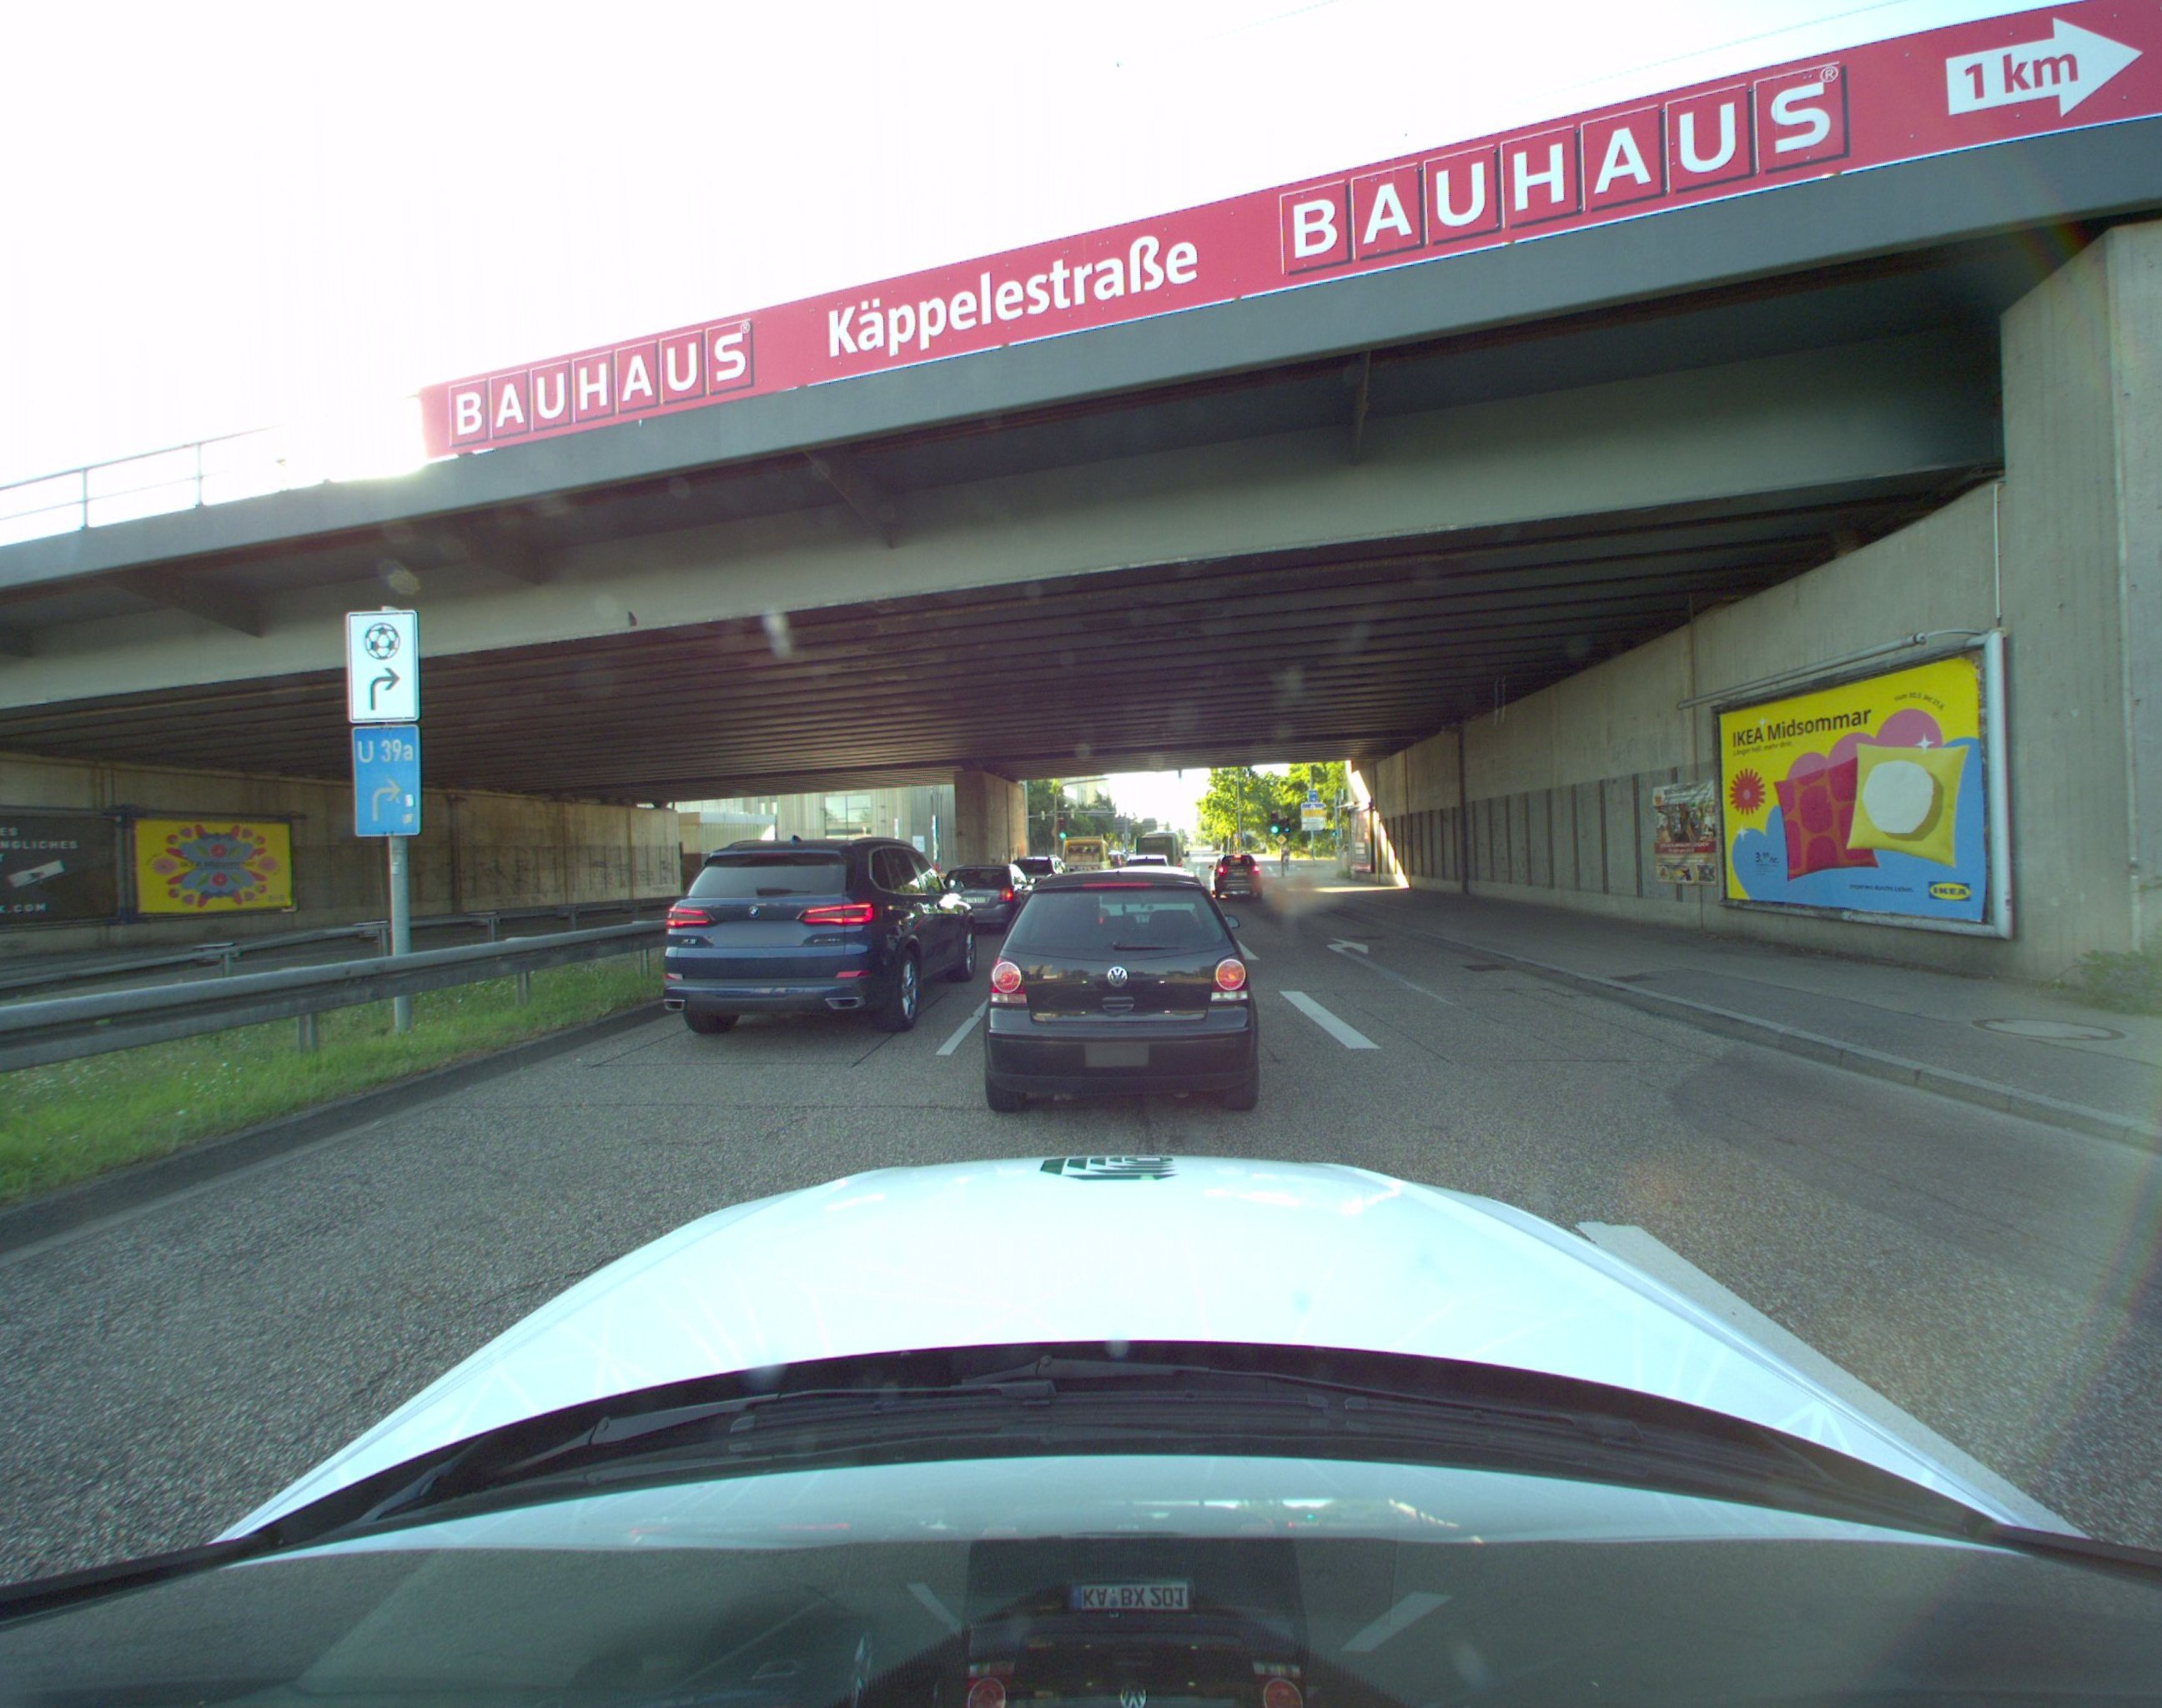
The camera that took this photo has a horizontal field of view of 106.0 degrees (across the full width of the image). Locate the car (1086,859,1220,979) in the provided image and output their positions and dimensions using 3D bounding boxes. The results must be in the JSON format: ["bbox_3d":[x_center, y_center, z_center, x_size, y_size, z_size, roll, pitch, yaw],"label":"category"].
[{"bbox_3d":[0.968,0.788,11.716,1.572,1.413,4.065,0,-1,3],"label":"car"}]

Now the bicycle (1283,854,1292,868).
[{"bbox_3d":[14.042,0.499,55.359,0.435,0.914,1.029,-3,-1,9],"label":"bicycle"}]

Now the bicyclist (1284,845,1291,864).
[{"bbox_3d":[14.037,0.035,55.354,0.425,1.233,0.461,-2,-1,8],"label":"bicyclist"}]

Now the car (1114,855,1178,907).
[{"bbox_3d":[2.195,0.822,26.611,1.786,1.559,4.009,-1,-1,8],"label":"car"}]

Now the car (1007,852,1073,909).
[{"bbox_3d":[-1.223,0.810,25.893,1.609,1.679,3.688,0,-1,5],"label":"car"}]

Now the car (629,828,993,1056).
[{"bbox_3d":[-2.341,0.696,8.545,1.984,1.734,4.538,0,-1,5],"label":"car"}]

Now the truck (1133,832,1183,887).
[{"bbox_3d":[3.492,0.258,36.412,1.984,2.315,4.009,-1,-1,8],"label":"truck"}]

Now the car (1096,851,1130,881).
[{"bbox_3d":[1.853,0.683,46.742,1.608,1.679,3.691,0,-1,7],"label":"car"}]

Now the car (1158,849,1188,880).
[{"bbox_3d":[5.170,0.589,45.478,1.608,1.679,3.691,0,-1,7],"label":"car"}]

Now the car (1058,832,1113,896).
[{"bbox_3d":[0.280,0.429,35.977,2.127,2.576,5.092,0,-1,4],"label":"car"}]

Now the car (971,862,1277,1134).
[{"bbox_3d":[0.369,0.780,6.161,1.609,1.410,3.687,0,-1,5],"label":"car"}]

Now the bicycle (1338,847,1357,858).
[{"bbox_3d":[25.123,-0.130,76.743,1.647,0.991,0.581,-3,2,25],"label":"bicycle"}]

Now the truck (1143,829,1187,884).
[{"bbox_3d":[4.278,0.137,41.034,1.984,2.668,4.009,-1,-1,8],"label":"truck"}]

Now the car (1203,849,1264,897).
[{"bbox_3d":[5.583,0.671,30.195,1.729,1.630,4.065,0,-1,3],"label":"car"}]

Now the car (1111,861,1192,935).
[{"bbox_3d":[1.489,0.878,17.916,1.572,1.413,4.065,0,-1,3],"label":"car"}]

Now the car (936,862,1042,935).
[{"bbox_3d":[-1.881,0.881,17.722,1.609,1.410,3.687,0,-1,4],"label":"car"}]
